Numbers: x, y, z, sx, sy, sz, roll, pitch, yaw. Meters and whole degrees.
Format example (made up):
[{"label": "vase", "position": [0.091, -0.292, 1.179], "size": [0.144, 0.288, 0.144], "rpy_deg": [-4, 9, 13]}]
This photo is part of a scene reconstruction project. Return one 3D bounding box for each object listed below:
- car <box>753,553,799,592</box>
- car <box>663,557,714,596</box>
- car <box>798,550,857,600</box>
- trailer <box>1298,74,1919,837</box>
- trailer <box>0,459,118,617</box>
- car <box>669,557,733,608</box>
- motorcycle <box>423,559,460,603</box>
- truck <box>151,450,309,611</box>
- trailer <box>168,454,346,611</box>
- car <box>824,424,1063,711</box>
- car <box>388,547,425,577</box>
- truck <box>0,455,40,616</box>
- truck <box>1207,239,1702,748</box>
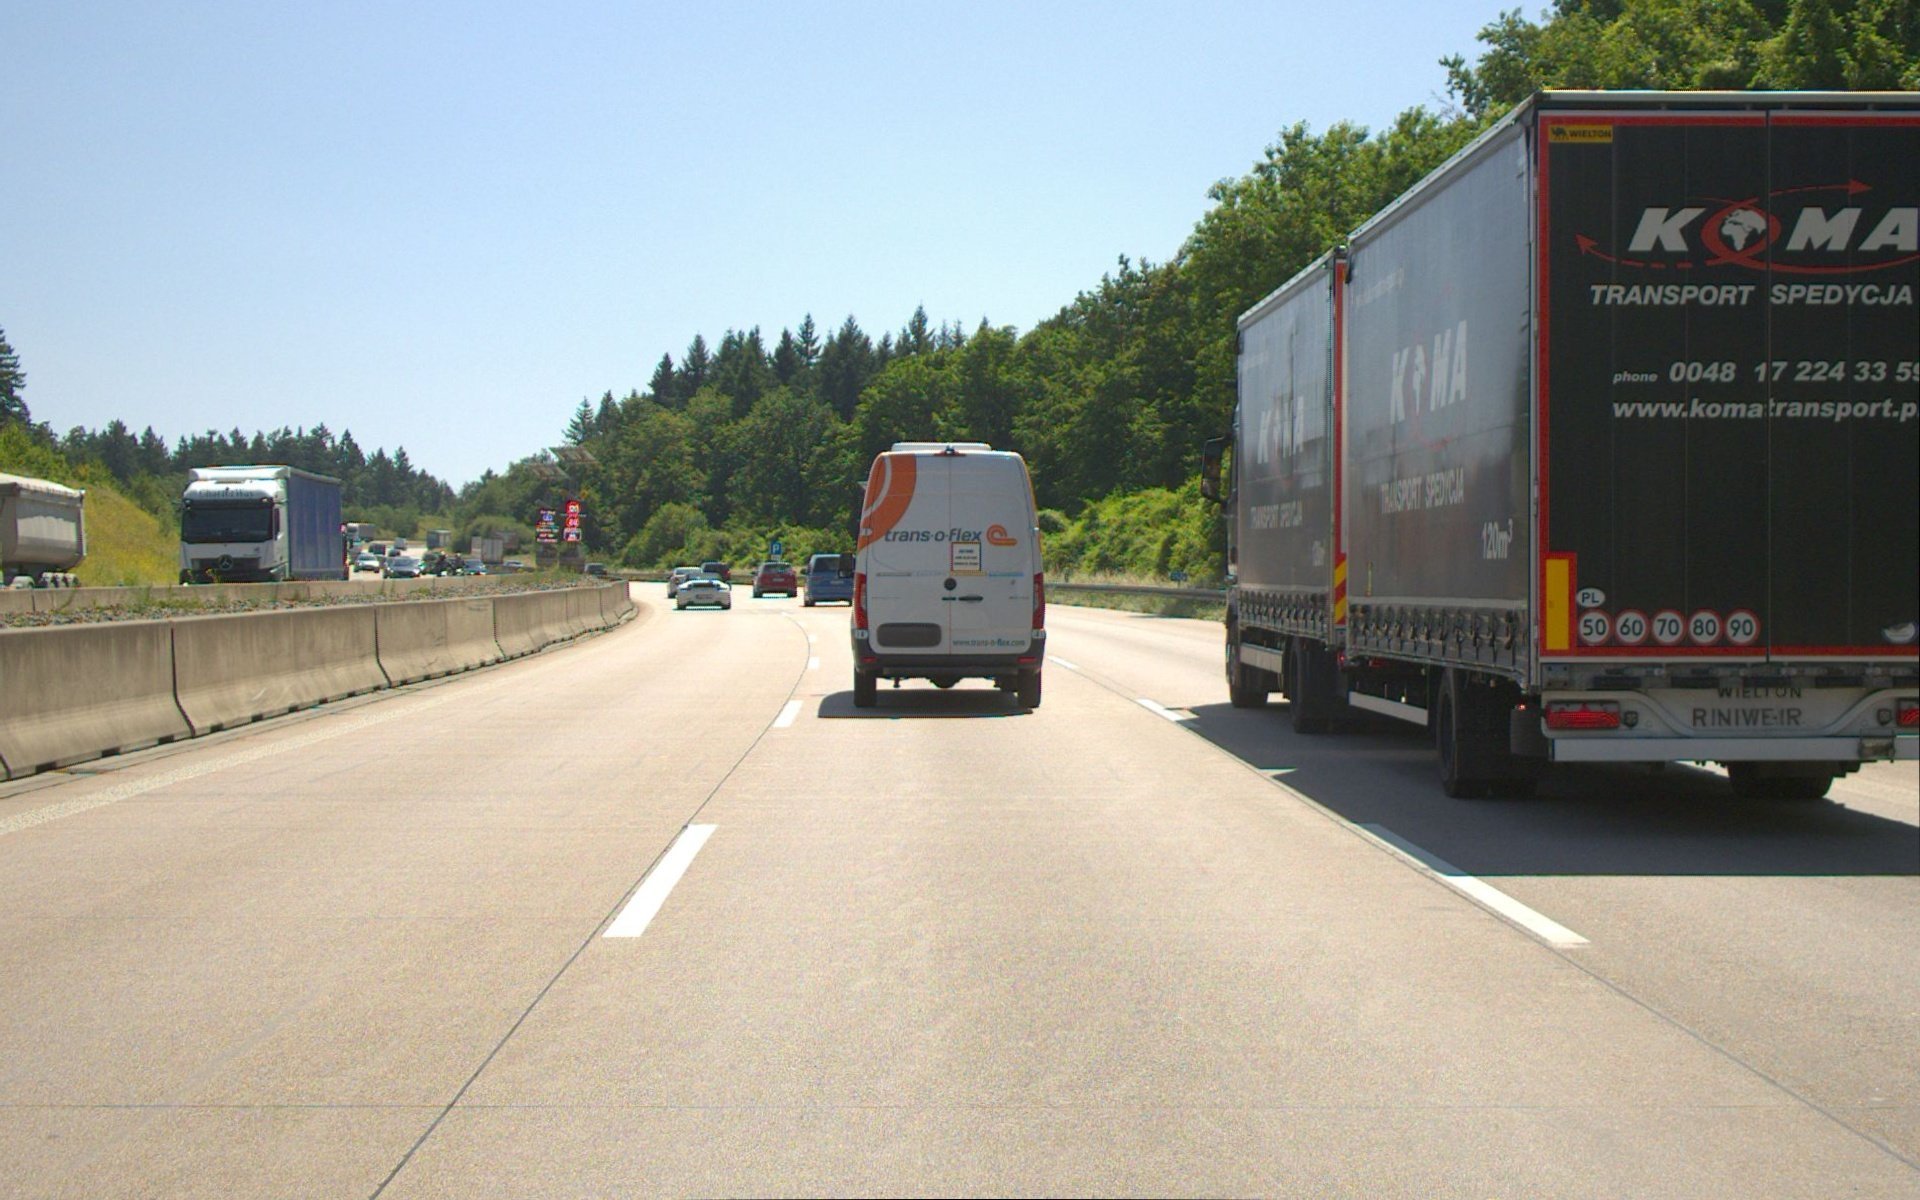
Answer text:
[{"label": "car", "position": [-8.503, -1.252, 158.528], "size": [1.993, 1.678, 4.000], "rpy_deg": [2, 0, -4]}, {"label": "car", "position": [-12.577, -1.077, 159.172], "size": [1.993, 1.678, 4.001], "rpy_deg": [2, 0, -9]}, {"label": "car", "position": [-4.842, -0.900, 124.795], "size": [1.993, 1.678, 4.000], "rpy_deg": [2, 0, -3]}, {"label": "trailer", "position": [4.255, -0.798, 22.671], "size": [3.135, 4.003, 9.088], "rpy_deg": [1, 0, 0]}, {"label": "trailer", "position": [-21.777, -1.399, 78.984], "size": [2.725, 3.401, 8.956], "rpy_deg": [2, 0, -1]}, {"label": "car", "position": [-8.992, -0.604, 119.717], "size": [1.993, 1.678, 4.000], "rpy_deg": [2, 0, -2]}, {"label": "motorcycle", "position": [-18.583, -0.681, 123.287], "size": [1.008, 1.544, 2.484], "rpy_deg": [1, 1, -2]}, {"label": "truck", "position": [-18.857, -1.746, 89.185], "size": [3.160, 3.919, 5.837], "rpy_deg": [2, 0, -5]}, {"label": "trailer", "position": [-19.457, -1.771, 96.067], "size": [3.160, 3.919, 13.869], "rpy_deg": [2, 0, -5]}, {"label": "car", "position": [-0.269, -0.372, 36.948], "size": [2.226, 2.834, 5.455], "rpy_deg": [1, 1, -4]}, {"label": "car", "position": [-32.946, -2.236, 204.687], "size": [1.993, 1.766, 4.001], "rpy_deg": [0, 1, -7]}, {"label": "truck", "position": [-21.668, -1.416, 73.534], "size": [2.725, 3.401, 4.512], "rpy_deg": [2, 0, -1]}, {"label": "truck", "position": [4.296, -0.890, 32.519], "size": [3.159, 4.003, 10.608], "rpy_deg": [1, 0, 0]}]
